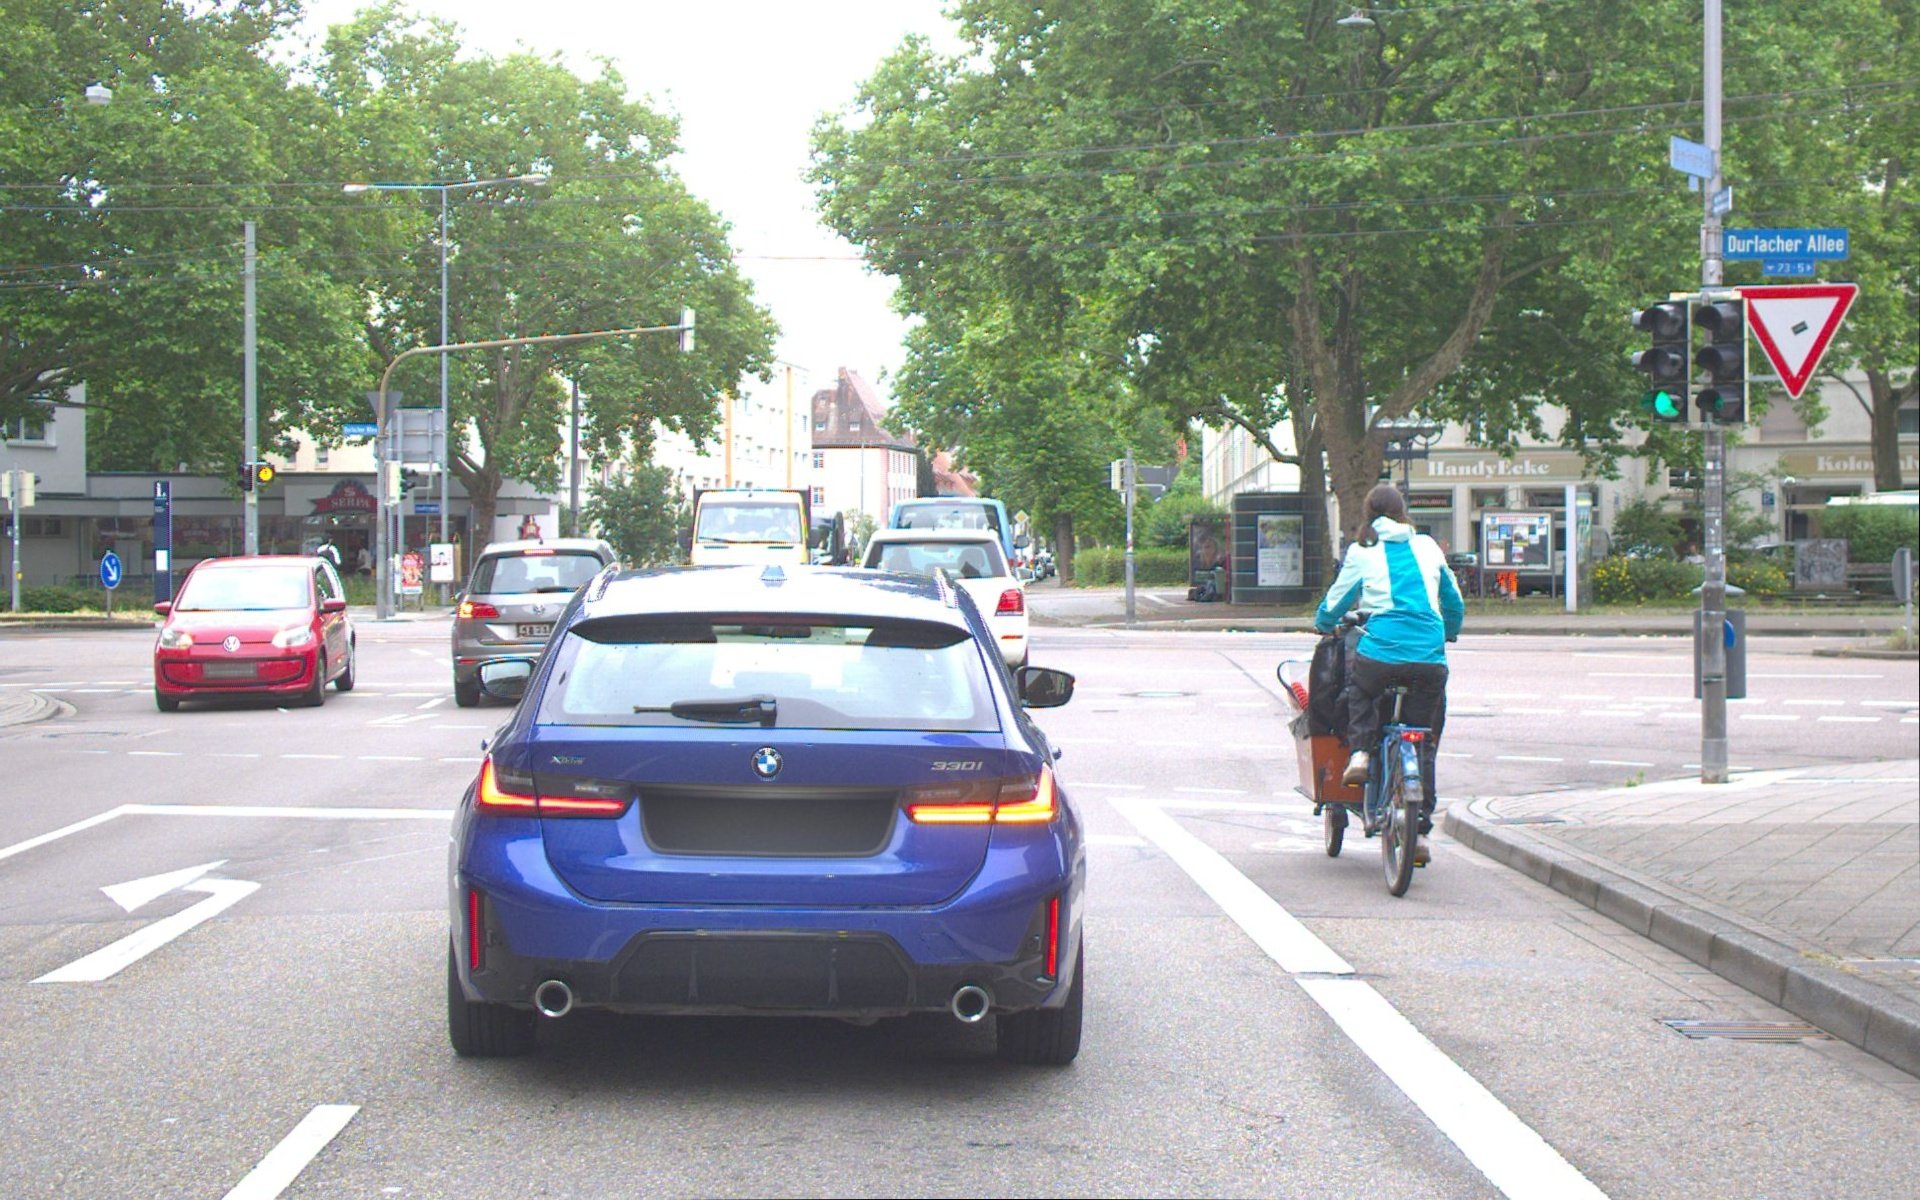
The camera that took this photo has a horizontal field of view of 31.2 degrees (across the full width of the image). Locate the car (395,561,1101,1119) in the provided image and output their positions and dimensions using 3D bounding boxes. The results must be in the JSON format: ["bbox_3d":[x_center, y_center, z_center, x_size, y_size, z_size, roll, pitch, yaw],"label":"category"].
[{"bbox_3d":[-0.567,0.597,11.061,1.815,1.400,4.320,0,1,0],"label":"car"}]

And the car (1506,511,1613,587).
[{"bbox_3d":[17.702,-1.490,101.381,2.177,2.193,3.995,0,1,24],"label":"car"}]

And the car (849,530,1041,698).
[{"bbox_3d":[-0.159,0.096,34.684,1.815,1.586,4.000,0,1,0],"label":"car"}]

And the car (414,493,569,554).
[{"bbox_3d":[-13.607,-2.198,99.903,3.987,1.700,2.000,0,0,-34],"label":"car"}]

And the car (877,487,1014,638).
[{"bbox_3d":[-0.211,-0.542,47.889,1.815,1.998,4.000,0,1,0],"label":"car"}]

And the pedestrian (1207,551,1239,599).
[{"bbox_3d":[7.467,-0.706,97.613,0.817,1.367,0.762,0,1,0],"label":"pedestrian"}]

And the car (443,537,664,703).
[{"bbox_3d":[-3.946,0.149,33.930,1.732,1.520,4.000,0,1,0],"label":"car"}]

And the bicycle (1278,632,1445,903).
[{"bbox_3d":[1.817,0.727,15.778,0.494,1.094,2.139,0,1,-1],"label":"bicycle"}]

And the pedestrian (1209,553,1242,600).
[{"bbox_3d":[7.461,-0.664,96.759,0.853,1.310,0.762,0,1,0],"label":"pedestrian"}]

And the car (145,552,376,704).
[{"bbox_3d":[-7.052,0.244,34.941,1.649,1.442,3.511,0,1,0],"label":"car"}]

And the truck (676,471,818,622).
[{"bbox_3d":[-3.545,-0.914,58.171,2.075,2.400,5.463,-1,1,-1],"label":"truck"}]

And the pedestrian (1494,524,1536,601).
[{"bbox_3d":[12.630,-0.860,78.251,0.784,1.738,0.925,0,1,-2],"label":"pedestrian"}]

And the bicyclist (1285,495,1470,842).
[{"bbox_3d":[1.872,0.289,15.528,0.686,1.512,1.058,0,1,0],"label":"bicyclist"}]
